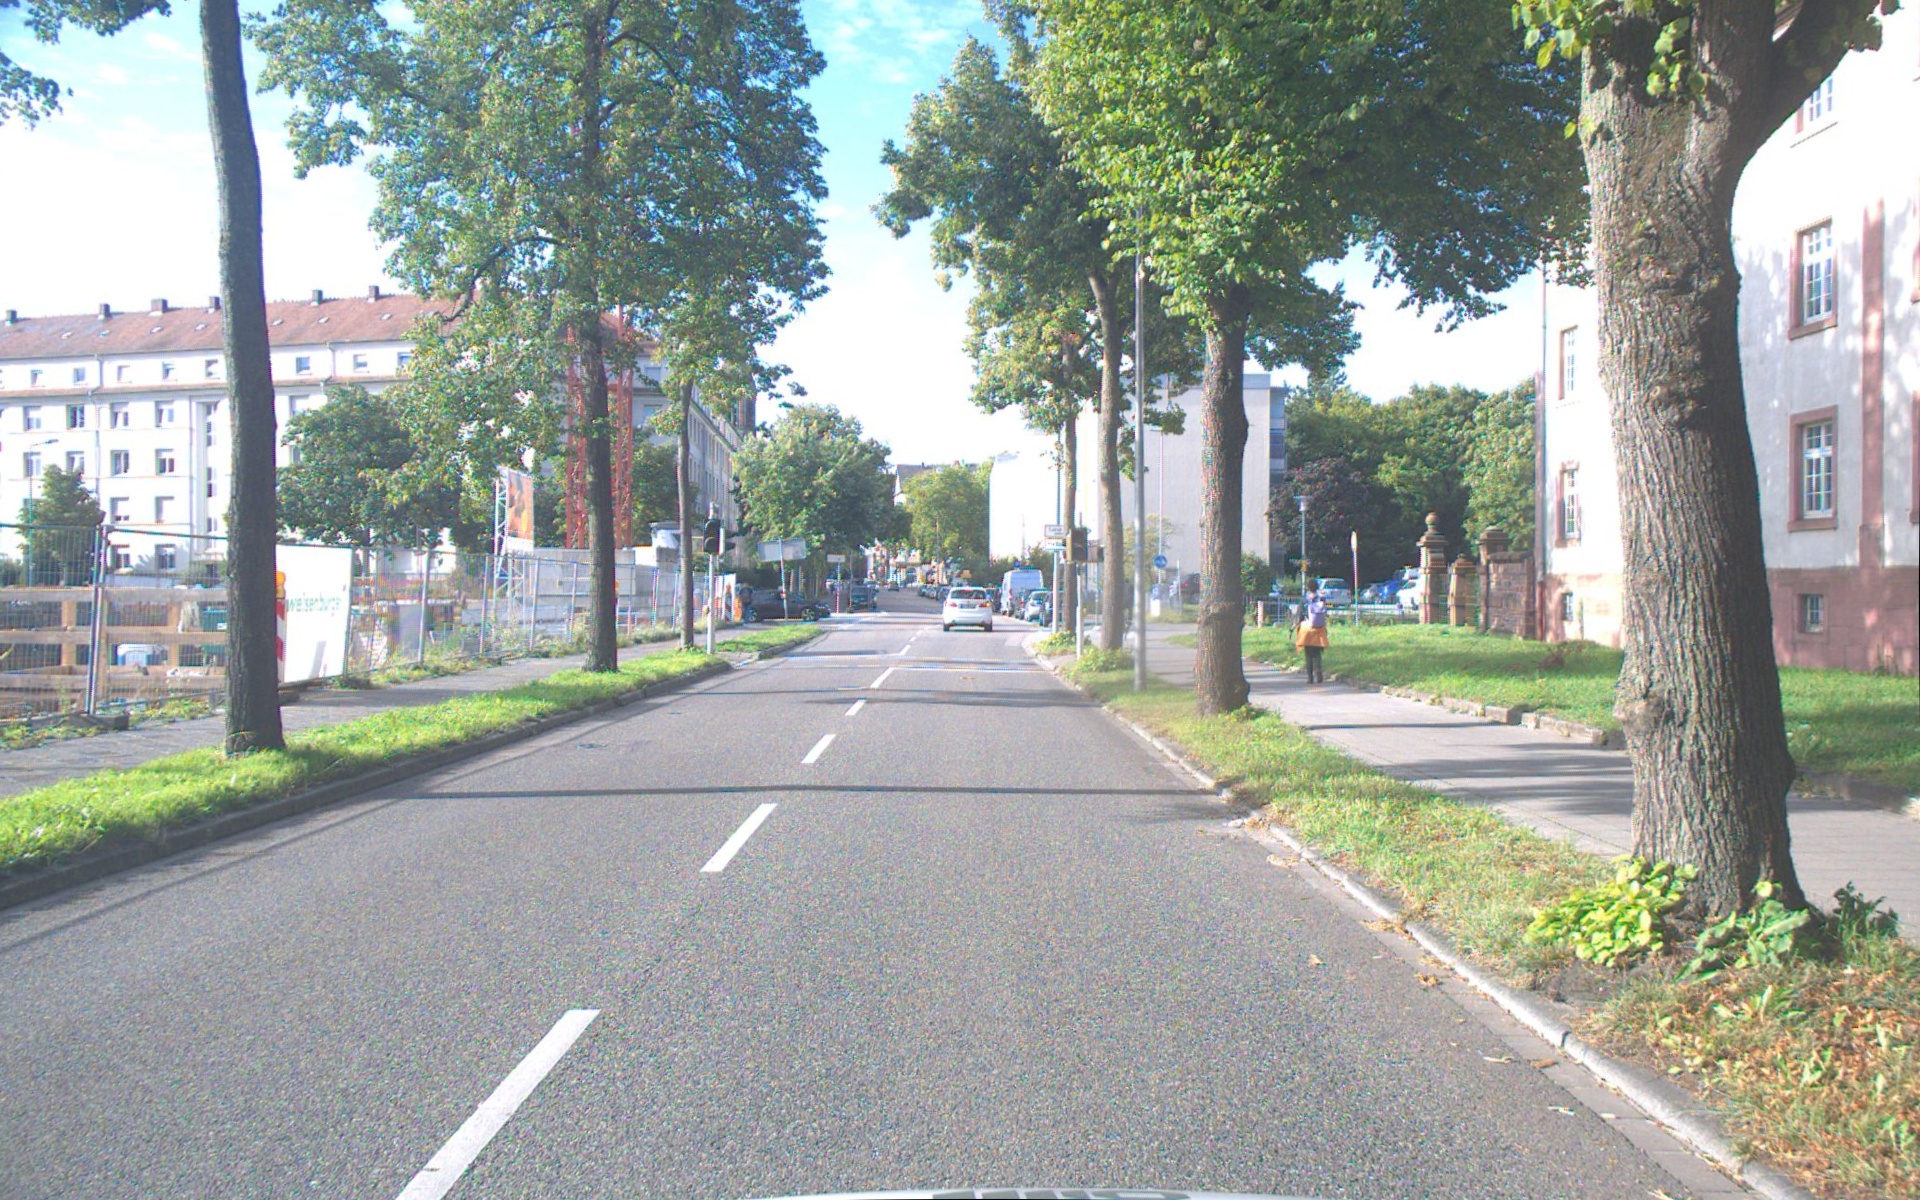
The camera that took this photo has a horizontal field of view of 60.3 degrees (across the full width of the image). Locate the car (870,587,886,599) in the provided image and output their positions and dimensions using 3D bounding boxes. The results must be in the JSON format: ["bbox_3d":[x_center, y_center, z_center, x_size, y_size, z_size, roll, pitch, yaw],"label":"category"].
[{"bbox_3d":[-11.754,-1.052,236.794,2.016,1.692,3.921,-1,1,-7],"label":"car"}]

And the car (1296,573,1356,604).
[{"bbox_3d":[18.338,-0.585,83.039,1.954,1.467,3.998,-1,1,-3],"label":"car"}]

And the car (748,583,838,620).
[{"bbox_3d":[-7.556,0.051,74.795,3.914,1.598,1.995,1,0,-10],"label":"car"}]

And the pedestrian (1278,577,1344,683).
[{"bbox_3d":[5.563,0.465,26.246,0.797,1.618,0.769,-2,0,-1],"label":"pedestrian"}]

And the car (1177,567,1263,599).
[{"bbox_3d":[13.971,-0.932,89.084,4.355,1.650,2.001,-1,1,3],"label":"car"}]

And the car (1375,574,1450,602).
[{"bbox_3d":[27.098,-0.743,99.087,3.906,1.579,2.000,-1,1,-2],"label":"car"}]

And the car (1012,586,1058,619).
[{"bbox_3d":[3.967,0.097,87.899,1.954,1.644,4.405,-1,1,-3],"label":"car"}]

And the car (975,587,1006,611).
[{"bbox_3d":[2.111,-0.111,115.275,1.953,1.601,3.999,-1,1,-1],"label":"car"}]

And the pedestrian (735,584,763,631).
[{"bbox_3d":[-8.031,0.280,62.919,0.989,1.758,1.174,0,-1,-13],"label":"pedestrian"}]

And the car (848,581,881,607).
[{"bbox_3d":[-6.385,-0.434,110.177,1.955,1.668,3.994,-1,1,-7],"label":"car"}]

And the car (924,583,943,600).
[{"bbox_3d":[-2.902,-0.898,181.472,1.953,1.785,4.000,1,0,0],"label":"car"}]

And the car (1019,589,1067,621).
[{"bbox_3d":[4.098,0.243,82.563,1.975,1.500,4.800,-2,0,-2],"label":"car"}]

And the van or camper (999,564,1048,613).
[{"bbox_3d":[3.553,-0.675,93.925,2.166,2.652,5.367,-1,1,-4],"label":"van or camper"}]

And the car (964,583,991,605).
[{"bbox_3d":[1.304,-0.466,127.898,1.953,1.601,3.999,-1,1,-1],"label":"car"}]

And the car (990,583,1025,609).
[{"bbox_3d":[2.994,-0.279,104.851,1.953,1.601,3.999,-1,1,-1],"label":"car"}]

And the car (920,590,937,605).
[{"bbox_3d":[-3.851,-0.258,202.080,1.953,1.785,4.000,1,0,0],"label":"car"}]

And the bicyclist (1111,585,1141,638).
[{"bbox_3d":[4.984,0.344,49.643,0.722,1.540,0.874,-2,0,-1],"label":"bicyclist"}]

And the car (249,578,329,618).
[{"bbox_3d":[-35.952,-0.142,88.662,1.951,2.049,4.003,-1,1,15],"label":"car"}]

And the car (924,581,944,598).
[{"bbox_3d":[-2.692,-1.071,171.426,1.953,1.785,4.000,1,0,0],"label":"car"}]

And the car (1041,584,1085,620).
[{"bbox_3d":[4.393,0.079,71.095,1.682,1.522,4.268,-1,0,1],"label":"car"}]

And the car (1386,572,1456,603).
[{"bbox_3d":[23.038,-0.635,82.740,1.956,1.467,3.994,-1,1,-7],"label":"car"}]

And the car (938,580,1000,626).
[{"bbox_3d":[0.283,0.095,60.013,1.954,1.582,4.271,1,0,-4],"label":"car"}]

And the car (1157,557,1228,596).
[{"bbox_3d":[13.827,-1.418,98.582,4.033,2.224,2.001,-1,1,3],"label":"car"}]

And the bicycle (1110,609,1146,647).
[{"bbox_3d":[5.006,0.812,49.545,0.725,1.053,2.762,-3,0,-1],"label":"bicycle"}]
